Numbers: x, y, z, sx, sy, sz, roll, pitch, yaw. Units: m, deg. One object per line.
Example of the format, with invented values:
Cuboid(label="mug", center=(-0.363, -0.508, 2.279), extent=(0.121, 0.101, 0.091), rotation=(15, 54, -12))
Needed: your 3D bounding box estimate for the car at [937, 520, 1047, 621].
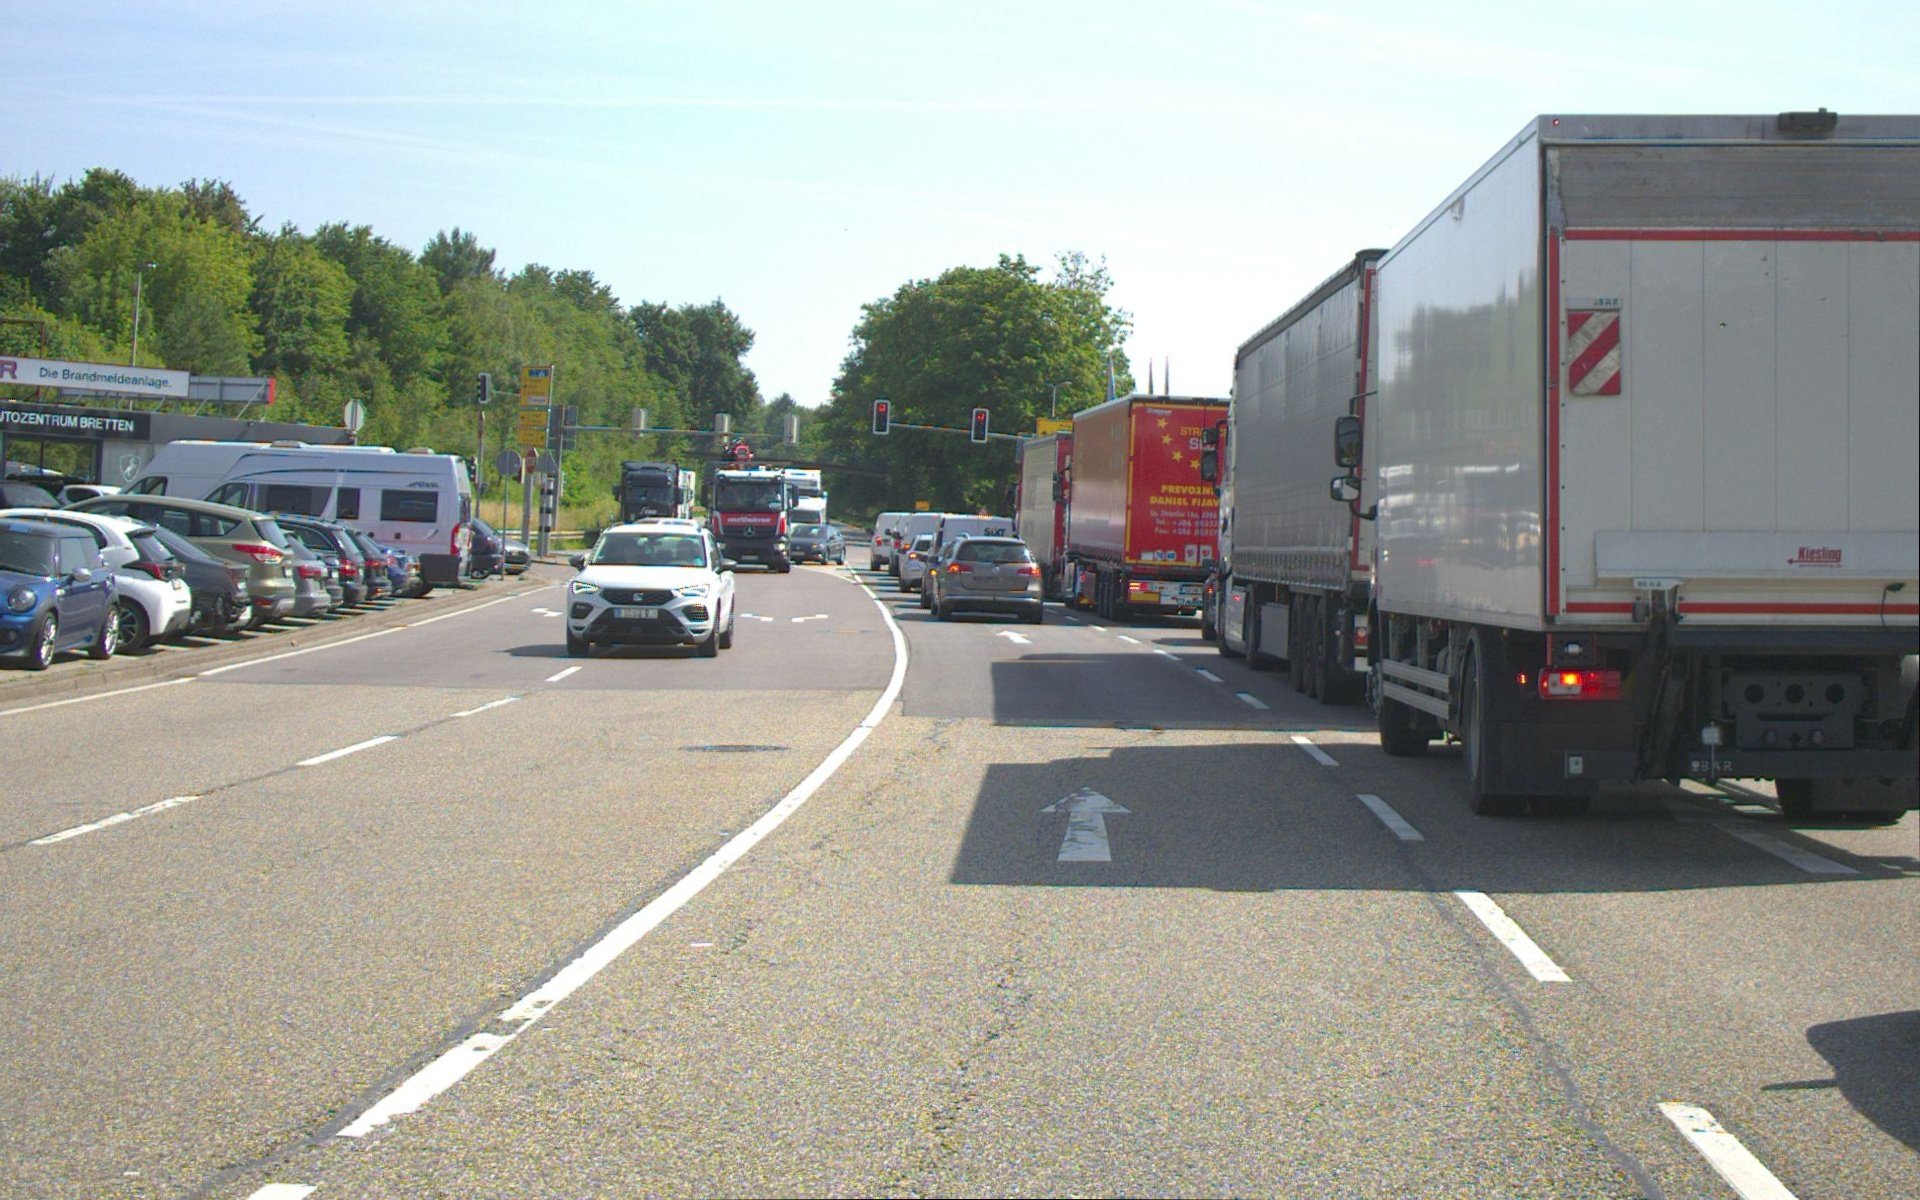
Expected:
Cuboid(label="car", center=(0.565, -0.524, 58.970), extent=(1.790, 1.633, 3.504), rotation=(2, 1, 1))

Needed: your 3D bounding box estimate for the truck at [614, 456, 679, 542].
Cuboid(label="truck", center=(-14.279, -4.581, 156.251), extent=(2.812, 3.773, 6.991), rotation=(1, 2, -6))

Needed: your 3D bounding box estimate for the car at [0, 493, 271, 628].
Cuboid(label="car", center=(-10.358, -0.503, 41.653), extent=(3.707, 1.520, 1.792), rotation=(1, 1, -3))

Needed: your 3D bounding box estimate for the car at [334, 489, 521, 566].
Cuboid(label="car", center=(-11.555, -1.581, 74.757), extent=(3.816, 1.534, 1.843), rotation=(2, 1, -3))

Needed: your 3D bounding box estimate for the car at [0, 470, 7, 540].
Cuboid(label="car", center=(-23.481, -2.244, 79.149), extent=(1.763, 1.583, 3.829), rotation=(1, 2, -35))

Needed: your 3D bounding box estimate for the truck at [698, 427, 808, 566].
Cuboid(label="truck", center=(-6.491, -3.269, 109.419), extent=(2.956, 4.194, 10.648), rotation=(0, 1, -1))

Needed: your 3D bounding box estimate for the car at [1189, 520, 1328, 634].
Cuboid(label="car", center=(4.671, -0.391, 54.251), extent=(1.819, 1.679, 4.000), rotation=(2, 1, 0))

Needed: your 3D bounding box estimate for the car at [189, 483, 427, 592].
Cuboid(label="car", center=(-11.176, -1.082, 59.126), extent=(3.707, 1.479, 1.708), rotation=(6, 1, -3))

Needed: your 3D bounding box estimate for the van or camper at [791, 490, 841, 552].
Cuboid(label="van or camper", center=(-6.938, -3.783, 166.271), extent=(2.224, 2.831, 5.711), rotation=(3, 1, -2))

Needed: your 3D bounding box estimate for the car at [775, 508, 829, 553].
Cuboid(label="car", center=(-5.709, -2.547, 124.705), extent=(1.806, 1.554, 4.387), rotation=(1, 1, -1))

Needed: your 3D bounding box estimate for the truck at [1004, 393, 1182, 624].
Cuboid(label="truck", center=(3.173, -2.322, 87.761), extent=(3.062, 5.202, 17.009), rotation=(3, 1, -2))

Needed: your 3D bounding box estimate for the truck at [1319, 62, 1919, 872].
Cuboid(label="truck", center=(4.248, -0.730, 21.985), extent=(2.879, 3.798, 11.142), rotation=(2, 1, 1))

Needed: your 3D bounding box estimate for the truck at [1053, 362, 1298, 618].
Cuboid(label="truck", center=(3.910, -2.093, 67.115), extent=(2.957, 4.255, 16.586), rotation=(3, 1, -2))

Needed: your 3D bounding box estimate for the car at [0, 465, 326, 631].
Cuboid(label="car", center=(-10.286, -0.676, 44.105), extent=(3.885, 1.710, 1.807), rotation=(6, 1, -3))

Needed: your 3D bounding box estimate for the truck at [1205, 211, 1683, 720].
Cuboid(label="truck", center=(4.737, -1.326, 37.808), extent=(2.890, 4.251, 16.710), rotation=(2, 1, 0))

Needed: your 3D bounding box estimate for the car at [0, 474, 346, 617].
Cuboid(label="car", center=(-10.679, -0.745, 46.749), extent=(4.276, 1.479, 1.836), rotation=(6, 1, -3))

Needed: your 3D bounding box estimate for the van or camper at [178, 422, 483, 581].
Cuboid(label="van or camper", center=(-11.805, -1.851, 64.725), extent=(5.245, 2.722, 2.211), rotation=(2, 1, 0))

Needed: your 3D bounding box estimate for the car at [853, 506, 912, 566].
Cuboid(label="car", center=(-2.548, -2.105, 114.082), extent=(1.727, 1.902, 3.312), rotation=(3, 1, 1))

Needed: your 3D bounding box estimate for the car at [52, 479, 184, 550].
Cuboid(label="car", center=(-19.987, -2.045, 81.529), extent=(1.763, 1.583, 3.829), rotation=(1, 2, -35))

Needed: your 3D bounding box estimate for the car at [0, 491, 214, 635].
Cuboid(label="car", center=(-10.572, -0.462, 39.086), extent=(3.795, 1.520, 1.847), rotation=(2, 1, -3))

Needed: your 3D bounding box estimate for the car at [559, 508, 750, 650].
Cuboid(label="car", center=(-3.744, -0.287, 42.691), extent=(1.935, 1.668, 4.000), rotation=(1, 1, 1))

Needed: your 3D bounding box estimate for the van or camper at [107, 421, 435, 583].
Cuboid(label="van or camper", center=(-13.406, -1.927, 67.181), extent=(5.891, 2.863, 2.290), rotation=(2, 2, -2))

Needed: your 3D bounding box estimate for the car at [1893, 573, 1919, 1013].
Cuboid(label="car", center=(3.959, 0.698, 9.378), extent=(1.735, 1.424, 4.225), rotation=(3, 1, 2))

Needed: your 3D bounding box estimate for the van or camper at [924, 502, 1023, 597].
Cuboid(label="van or camper", center=(0.255, -1.098, 73.500), extent=(1.852, 1.899, 3.785), rotation=(3, 1, -3))

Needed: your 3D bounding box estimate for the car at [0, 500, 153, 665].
Cuboid(label="car", center=(-9.823, -0.236, 35.817), extent=(1.779, 1.489, 3.782), rotation=(6, 1, 0))

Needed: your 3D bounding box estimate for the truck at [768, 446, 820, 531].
Cuboid(label="truck", center=(-8.667, -5.806, 179.994), extent=(2.552, 4.292, 7.597), rotation=(1, 1, -2))

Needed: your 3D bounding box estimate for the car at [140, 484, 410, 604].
Cuboid(label="car", center=(-10.779, -0.891, 54.263), extent=(3.844, 1.479, 1.802), rotation=(6, 1, -3))

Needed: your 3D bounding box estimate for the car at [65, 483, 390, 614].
Cuboid(label="car", center=(-10.988, -0.783, 51.801), extent=(4.458, 1.479, 1.772), rotation=(6, 1, -3))

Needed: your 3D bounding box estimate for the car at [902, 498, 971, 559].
Cuboid(label="car", center=(-0.617, -1.892, 91.624), extent=(1.727, 1.514, 3.312), rotation=(3, 1, 0))

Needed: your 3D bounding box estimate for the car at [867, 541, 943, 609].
Cuboid(label="car", center=(-1.304, -0.613, 82.811), extent=(1.727, 1.514, 3.312), rotation=(3, 1, 0))

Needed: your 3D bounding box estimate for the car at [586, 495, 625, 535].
Cuboid(label="car", center=(-19.178, -4.577, 185.885), extent=(1.993, 2.007, 4.001), rotation=(3, 1, -7))
